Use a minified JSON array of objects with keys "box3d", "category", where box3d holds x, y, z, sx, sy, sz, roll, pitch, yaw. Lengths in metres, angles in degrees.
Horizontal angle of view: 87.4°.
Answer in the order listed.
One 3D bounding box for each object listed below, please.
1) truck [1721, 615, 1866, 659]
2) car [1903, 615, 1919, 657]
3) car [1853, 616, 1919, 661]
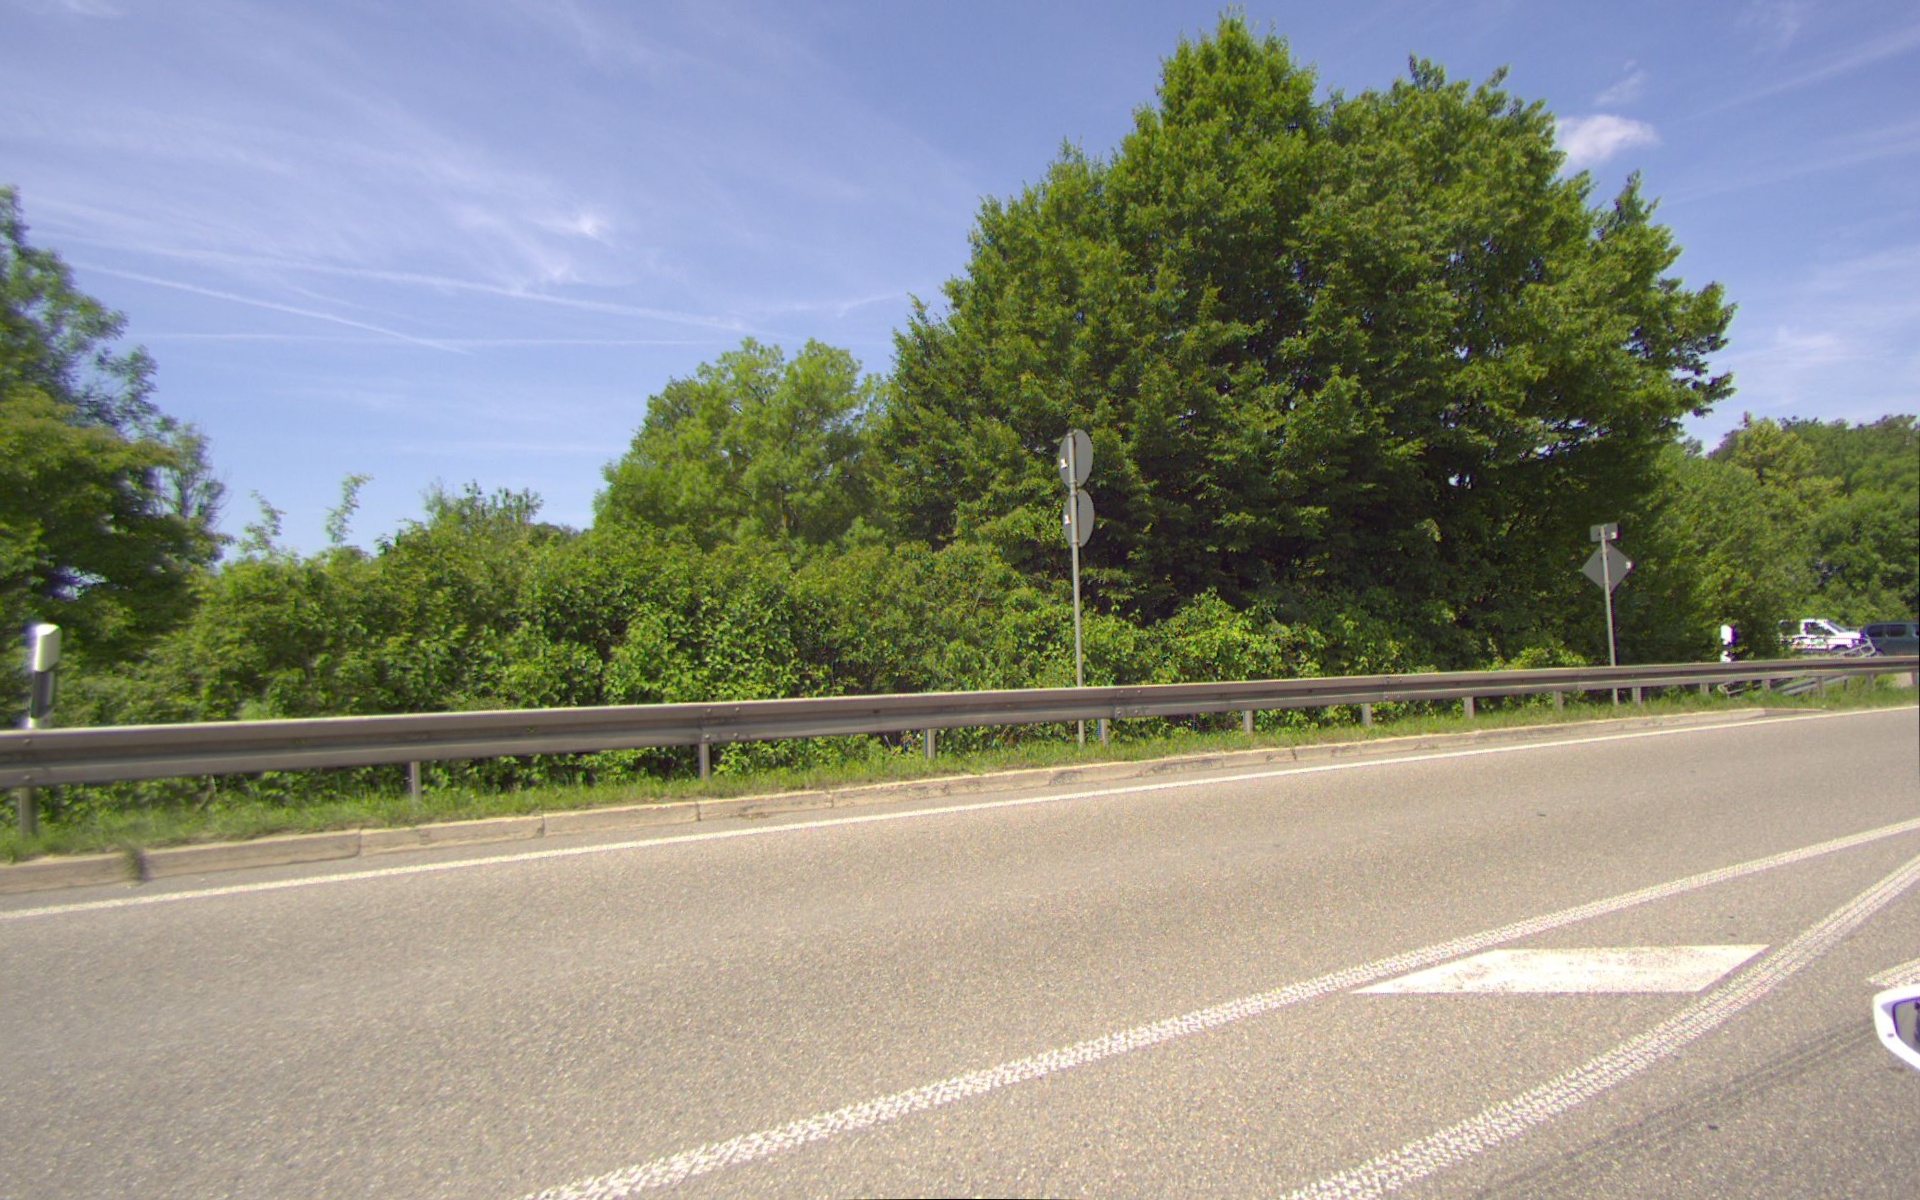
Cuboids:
[{"box3d":[38.667,1.702,46.713,2.026,1.815,4.838,3,-1,-38],"category":"truck"},{"box3d":[42.177,1.521,41.528,1.967,1.793,4.233,1,-1,-16],"category":"car"},{"box3d":[38.472,1.530,39.824,1.967,1.793,4.233,1,-1,-16],"category":"car"}]
